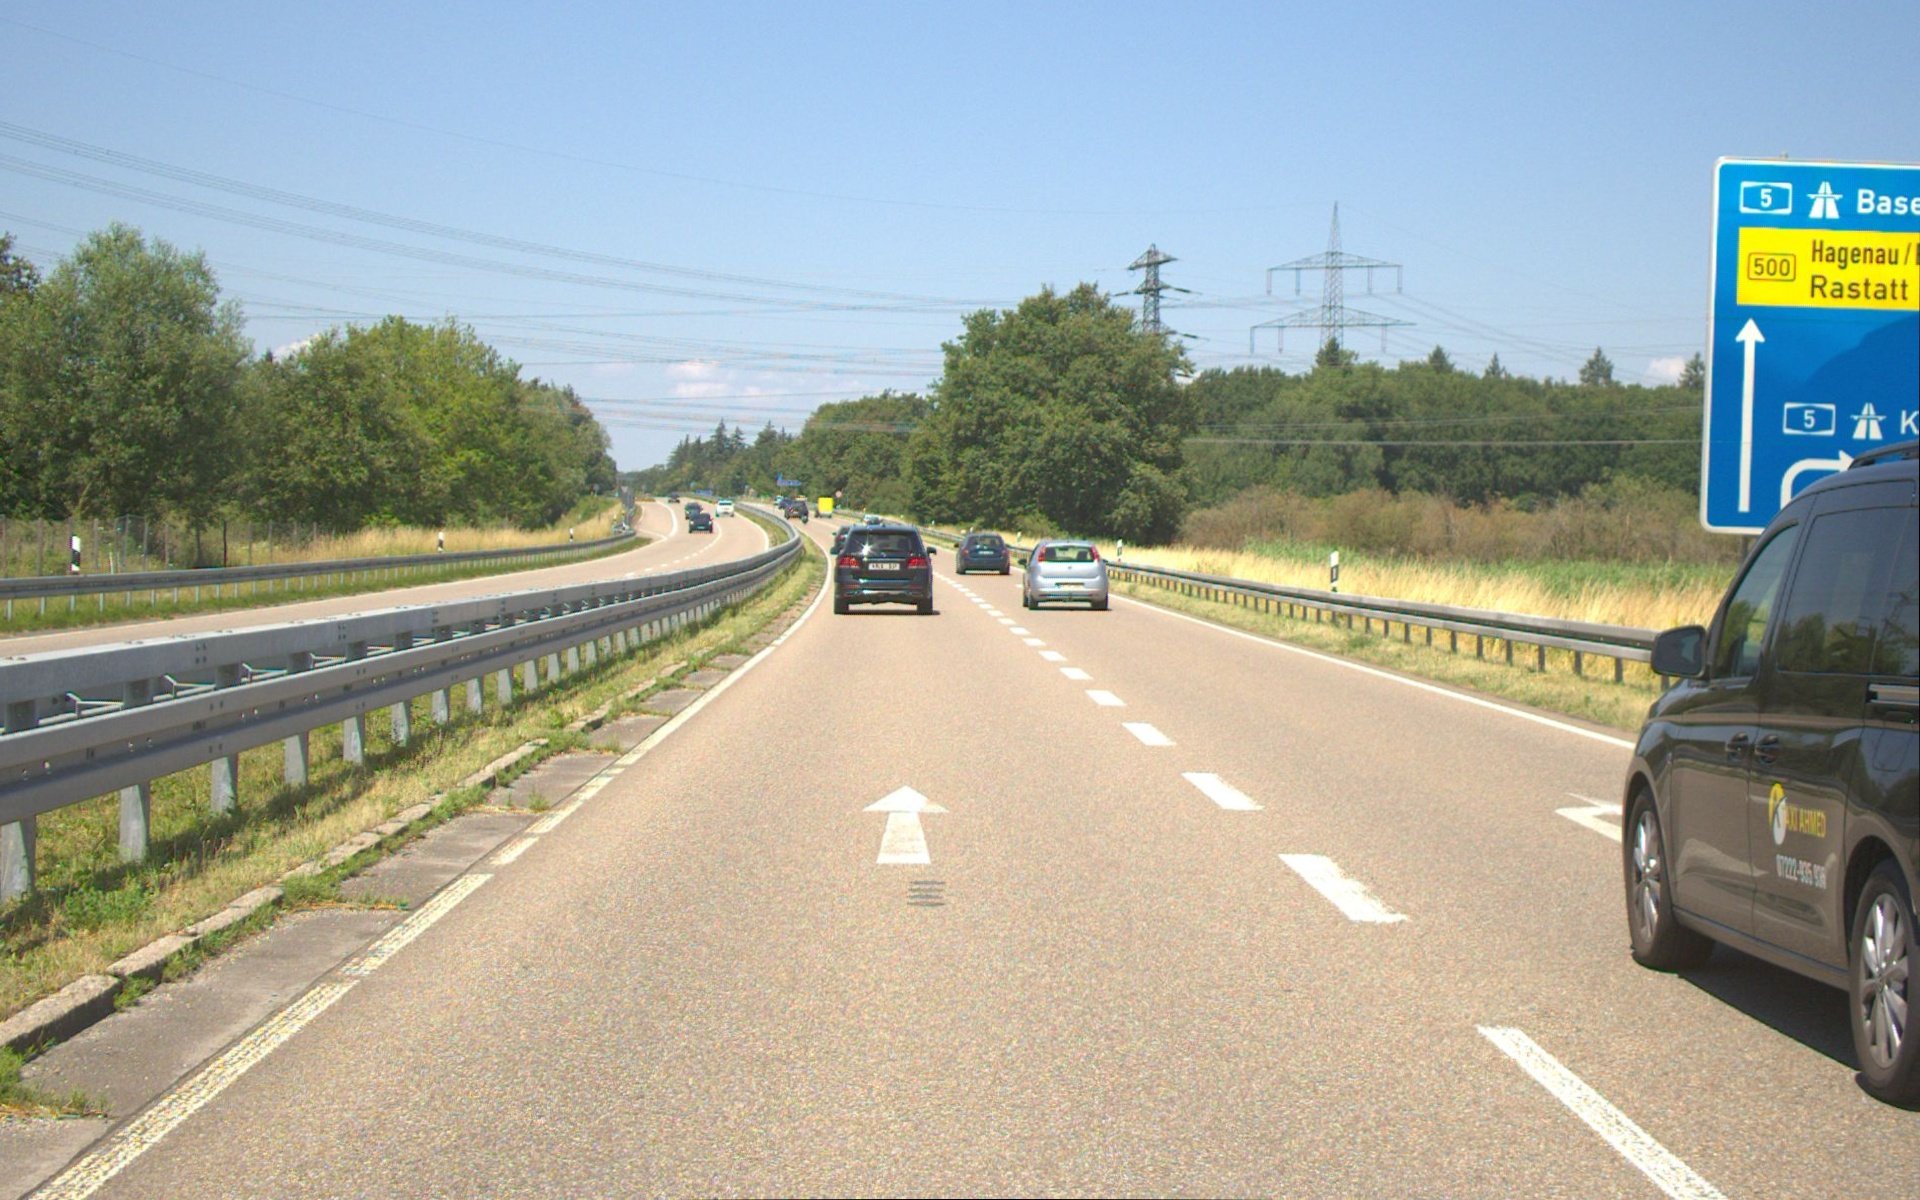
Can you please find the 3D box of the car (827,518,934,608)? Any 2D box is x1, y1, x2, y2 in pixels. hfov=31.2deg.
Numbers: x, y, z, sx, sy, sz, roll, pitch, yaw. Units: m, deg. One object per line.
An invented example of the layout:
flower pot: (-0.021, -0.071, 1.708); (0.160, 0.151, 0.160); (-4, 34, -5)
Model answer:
car: (-1.565, -0.742, 67.970); (1.993, 1.649, 4.000); (2, 1, -1)

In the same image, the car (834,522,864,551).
car: (-6.019, -3.441, 186.605); (1.514, 1.470, 3.066); (2, 1, -3)

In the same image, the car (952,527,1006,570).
car: (0.662, -1.825, 121.251); (1.819, 1.409, 4.000); (2, 1, 0)

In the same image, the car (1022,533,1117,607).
car: (2.302, -0.659, 73.270); (1.779, 1.474, 4.316); (2, 1, -1)

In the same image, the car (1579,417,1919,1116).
car: (3.309, 0.400, 11.012); (1.779, 1.810, 4.213); (1, 1, -1)
